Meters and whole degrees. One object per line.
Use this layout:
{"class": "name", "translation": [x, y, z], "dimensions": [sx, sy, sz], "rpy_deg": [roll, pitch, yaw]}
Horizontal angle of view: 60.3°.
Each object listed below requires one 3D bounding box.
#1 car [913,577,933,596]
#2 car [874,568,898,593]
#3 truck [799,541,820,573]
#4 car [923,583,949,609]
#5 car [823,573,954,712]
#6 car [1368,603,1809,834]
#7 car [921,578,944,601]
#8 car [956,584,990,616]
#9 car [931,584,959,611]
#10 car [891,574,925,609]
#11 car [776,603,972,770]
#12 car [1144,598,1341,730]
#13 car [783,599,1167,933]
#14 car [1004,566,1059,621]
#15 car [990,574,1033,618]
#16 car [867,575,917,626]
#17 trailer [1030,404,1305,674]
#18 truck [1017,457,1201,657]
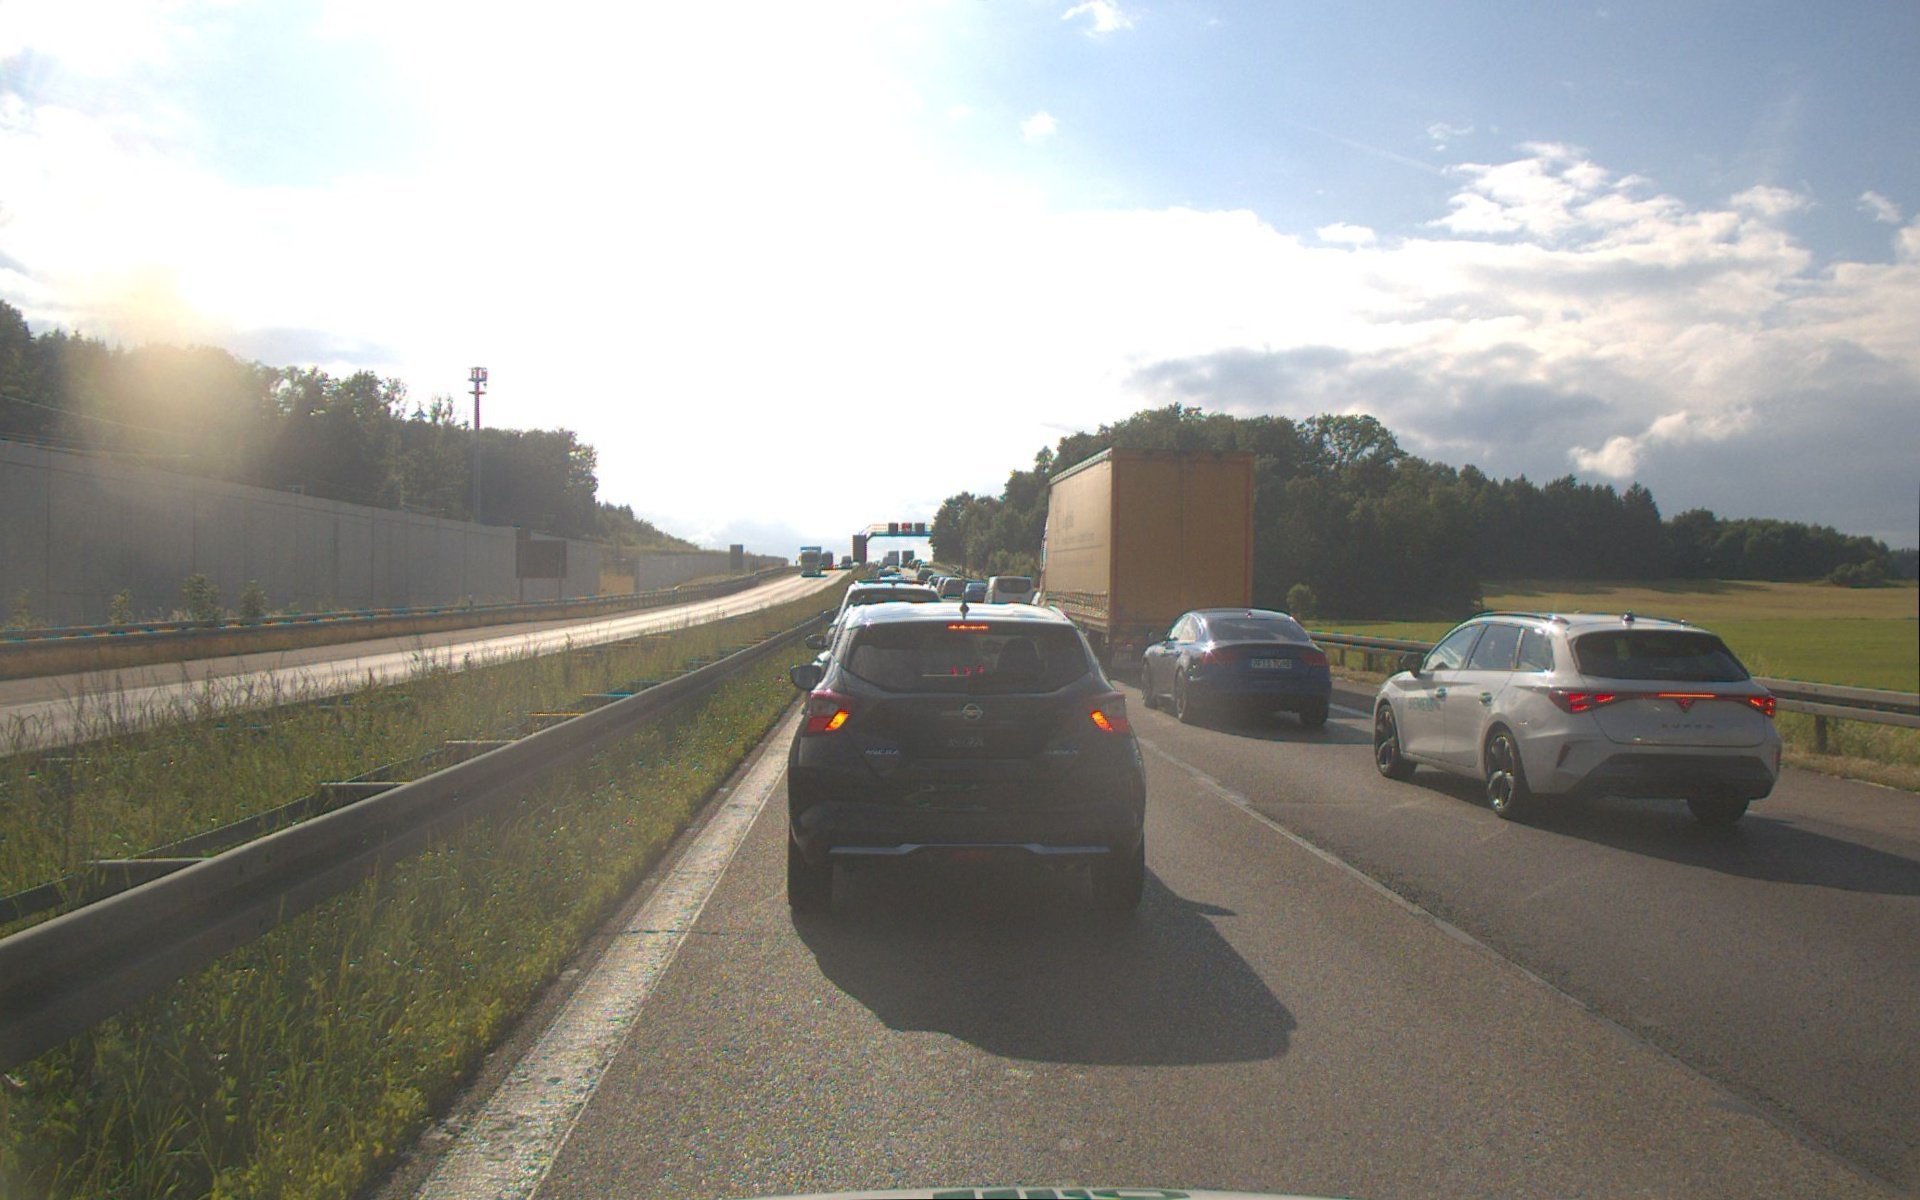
{"class": "car", "translation": [-4.059, -1.497, 181.284], "dimensions": [1.954, 2.049, 3.997], "rpy_deg": [1, 0, -3]}
{"class": "car", "translation": [-6.367, -1.700, 142.435], "dimensions": [1.954, 2.049, 3.997], "rpy_deg": [1, 0, -3]}
{"class": "truck", "translation": [-20.995, -5.971, 230.661], "dimensions": [2.585, 4.169, 6.998], "rpy_deg": [1, 0, -3]}
{"class": "car", "translation": [-1.958, -0.323, 136.100], "dimensions": [1.954, 2.049, 3.997], "rpy_deg": [1, 0, -3]}
{"class": "car", "translation": [-0.957, 0.552, 22.910], "dimensions": [1.640, 1.756, 3.595], "rpy_deg": [1, 0, -1]}
{"class": "car", "translation": [4.571, 0.778, 12.724], "dimensions": [1.588, 1.471, 4.143], "rpy_deg": [1, 0, -4]}
{"class": "car", "translation": [-2.544, -0.924, 151.465], "dimensions": [1.954, 2.049, 3.997], "rpy_deg": [1, 0, -3]}
{"class": "car", "translation": [0.823, 0.015, 109.677], "dimensions": [1.954, 2.049, 3.997], "rpy_deg": [1, 0, -3]}
{"class": "car", "translation": [-1.144, -0.163, 128.196], "dimensions": [1.954, 2.049, 3.997], "rpy_deg": [1, 0, -3]}
{"class": "car", "translation": [-3.152, -0.495, 99.988], "dimensions": [1.954, 2.049, 3.997], "rpy_deg": [1, 0, -3]}
{"class": "car", "translation": [-0.773, 0.740, 15.810], "dimensions": [1.640, 1.391, 3.595], "rpy_deg": [1, 0, -1]}
{"class": "car", "translation": [3.509, 0.756, 21.257], "dimensions": [1.712, 1.501, 4.145], "rpy_deg": [1, 0, -1]}
{"class": "car", "translation": [0.044, 0.744, 8.989], "dimensions": [1.675, 1.451, 3.377], "rpy_deg": [1, 0, -1]}
{"class": "car", "translation": [2.373, -0.203, 55.429], "dimensions": [1.633, 1.785, 3.326], "rpy_deg": [1, 0, -1]}
{"class": "car", "translation": [2.140, -0.147, 69.744], "dimensions": [1.633, 1.785, 3.326], "rpy_deg": [1, 0, -1]}
{"class": "car", "translation": [-2.855, 0.023, 68.763], "dimensions": [1.954, 2.049, 3.997], "rpy_deg": [1, 0, -3]}
{"class": "trailer", "translation": [3.815, -1.019, 34.535], "dimensions": [3.478, 4.535, 12.714], "rpy_deg": [1, 0, -3]}
{"class": "truck", "translation": [3.485, -0.953, 40.636], "dimensions": [3.511, 4.456, 6.684], "rpy_deg": [1, 0, -3]}
